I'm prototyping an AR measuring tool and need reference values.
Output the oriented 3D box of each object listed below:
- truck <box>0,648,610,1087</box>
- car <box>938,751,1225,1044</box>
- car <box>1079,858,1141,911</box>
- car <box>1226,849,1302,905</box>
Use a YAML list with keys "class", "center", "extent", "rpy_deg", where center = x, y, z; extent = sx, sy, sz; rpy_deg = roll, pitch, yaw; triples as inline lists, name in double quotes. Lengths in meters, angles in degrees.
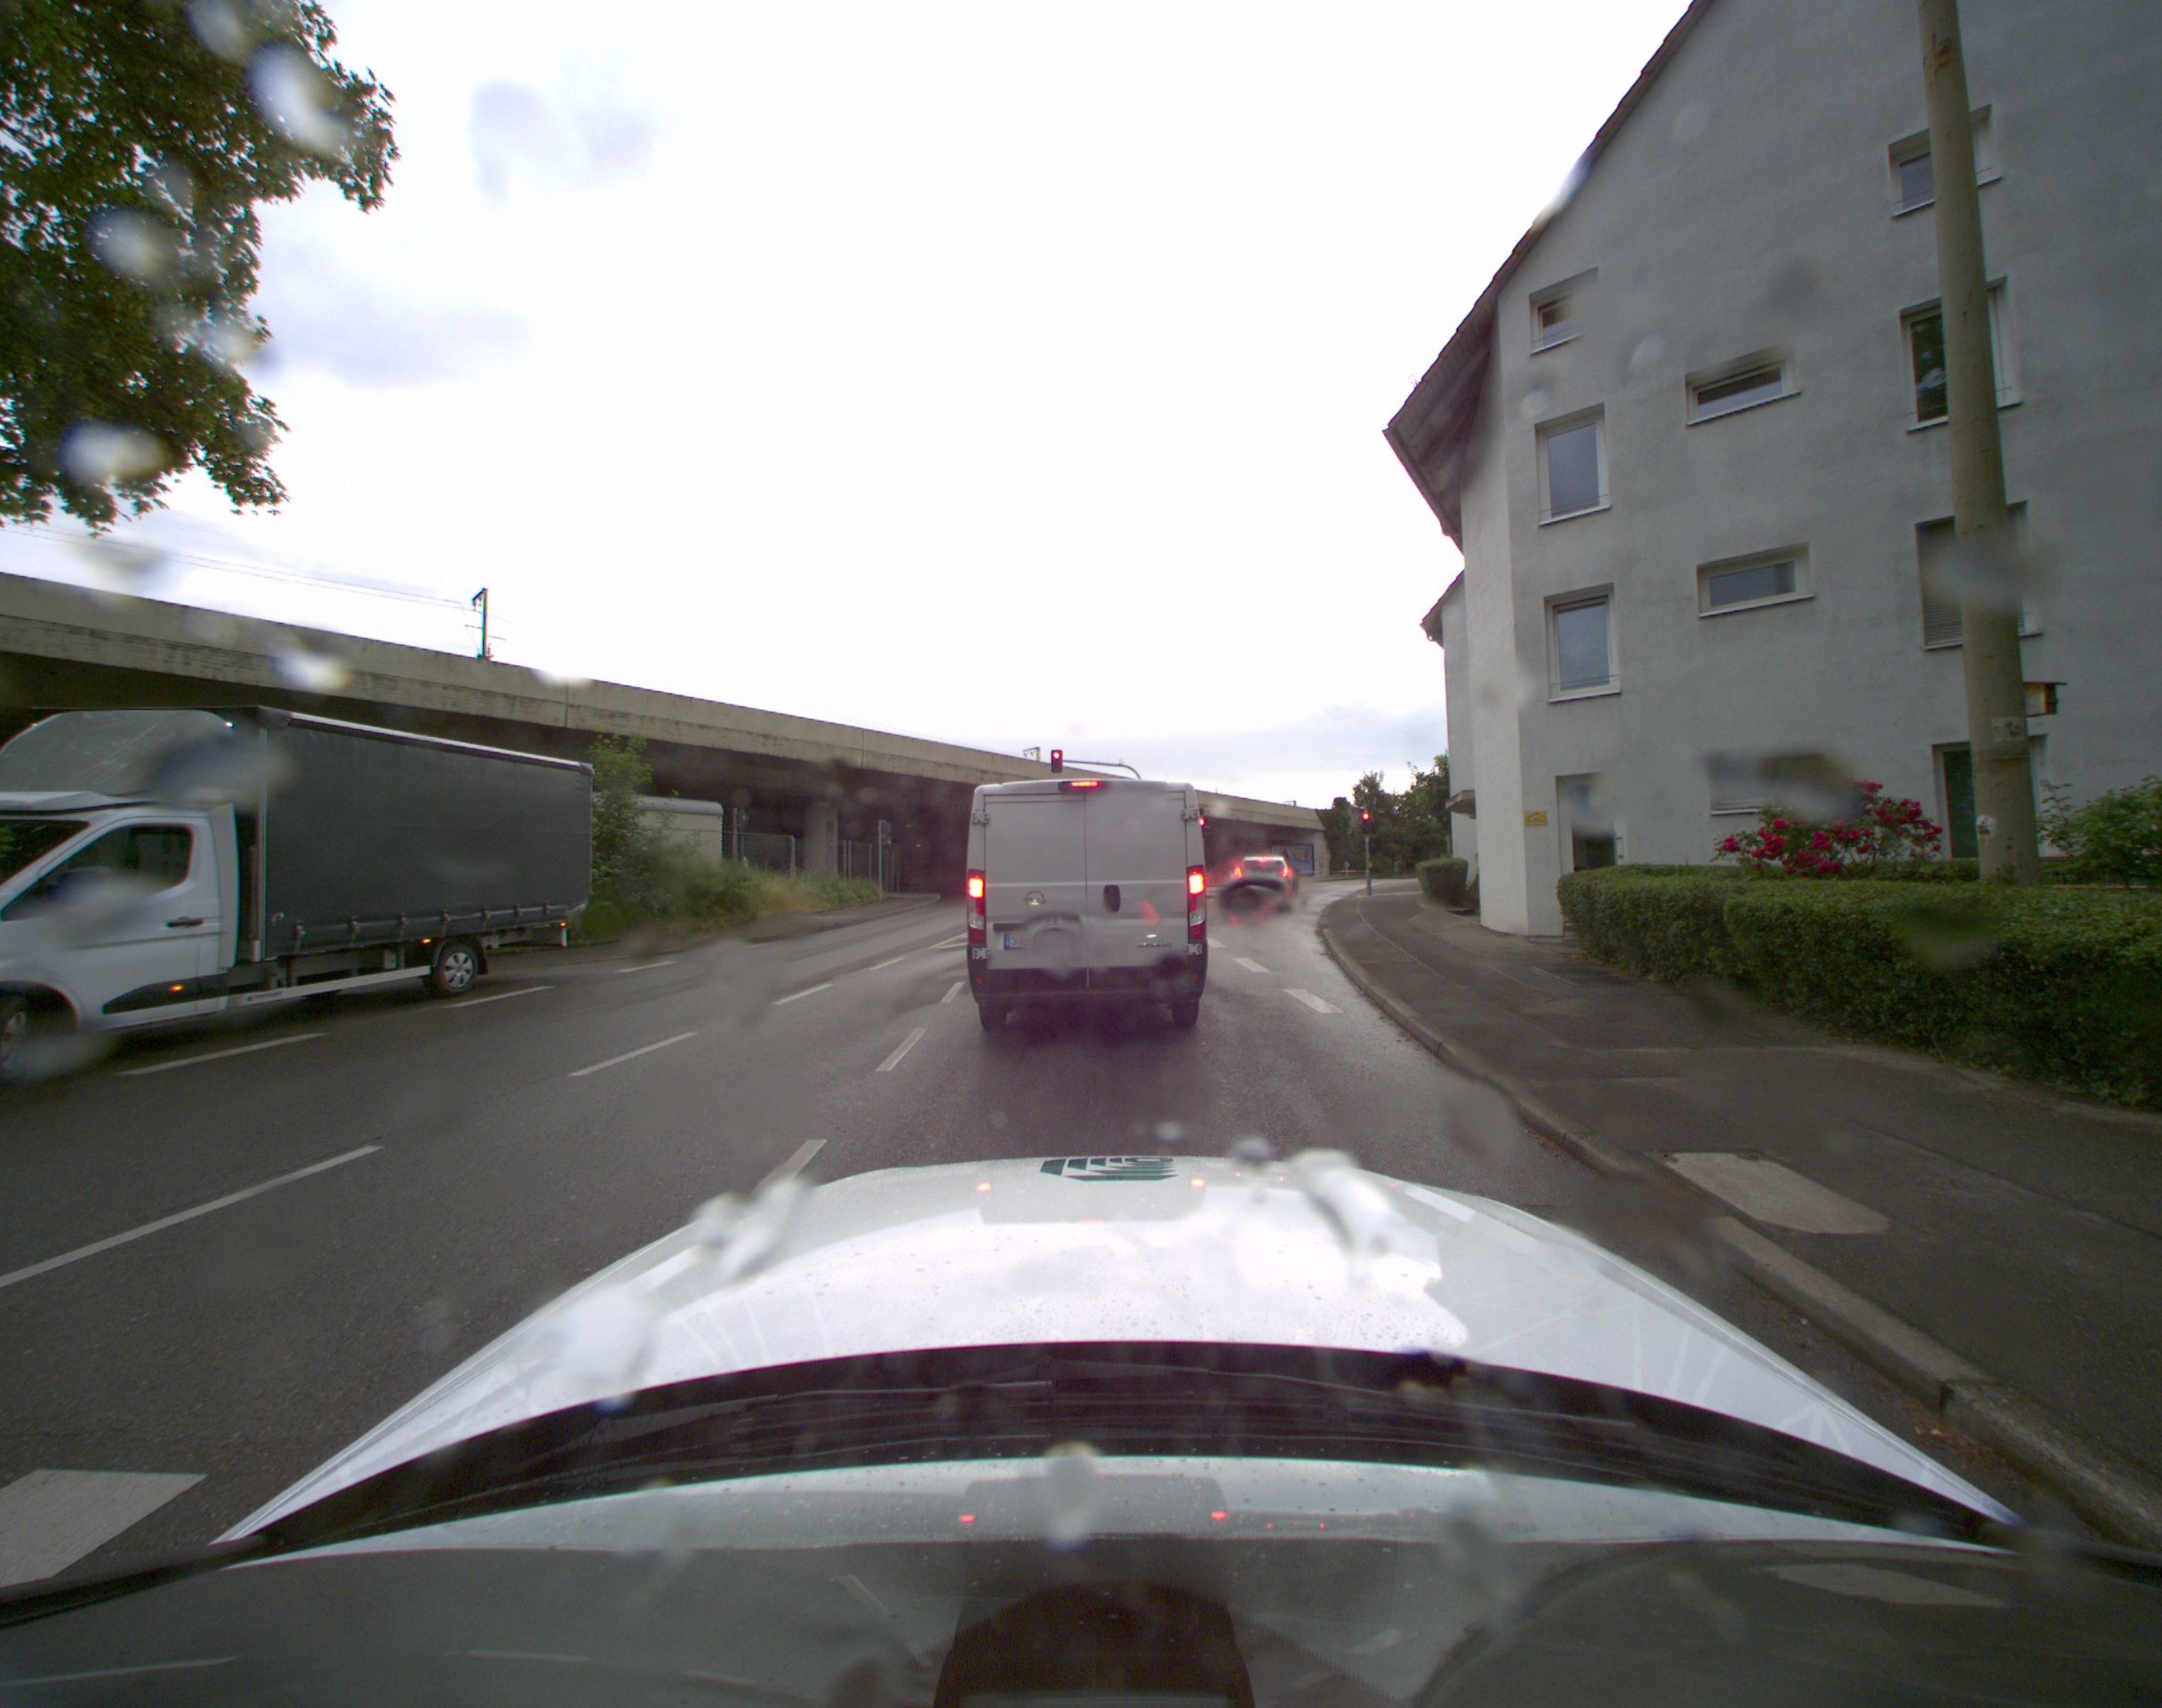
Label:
- class: "truck"
  center: [-9.076, 0.177, 9.186]
  extent: [2.599, 3.237, 7.782]
  rpy_deg: [-1, -1, 3]
- class: "car"
  center: [0.050, 0.376, 9.274]
  extent: [2.297, 2.343, 5.283]
  rpy_deg: [-1, -1, 1]
- class: "car"
  center: [1.100, 1.070, 29.006]
  extent: [1.984, 1.729, 4.004]
  rpy_deg: [-1, -2, 5]
- class: "car"
  center: [5.750, 0.705, 25.234]
  extent: [1.978, 1.549, 4.017]
  rpy_deg: [-2, -2, 17]
